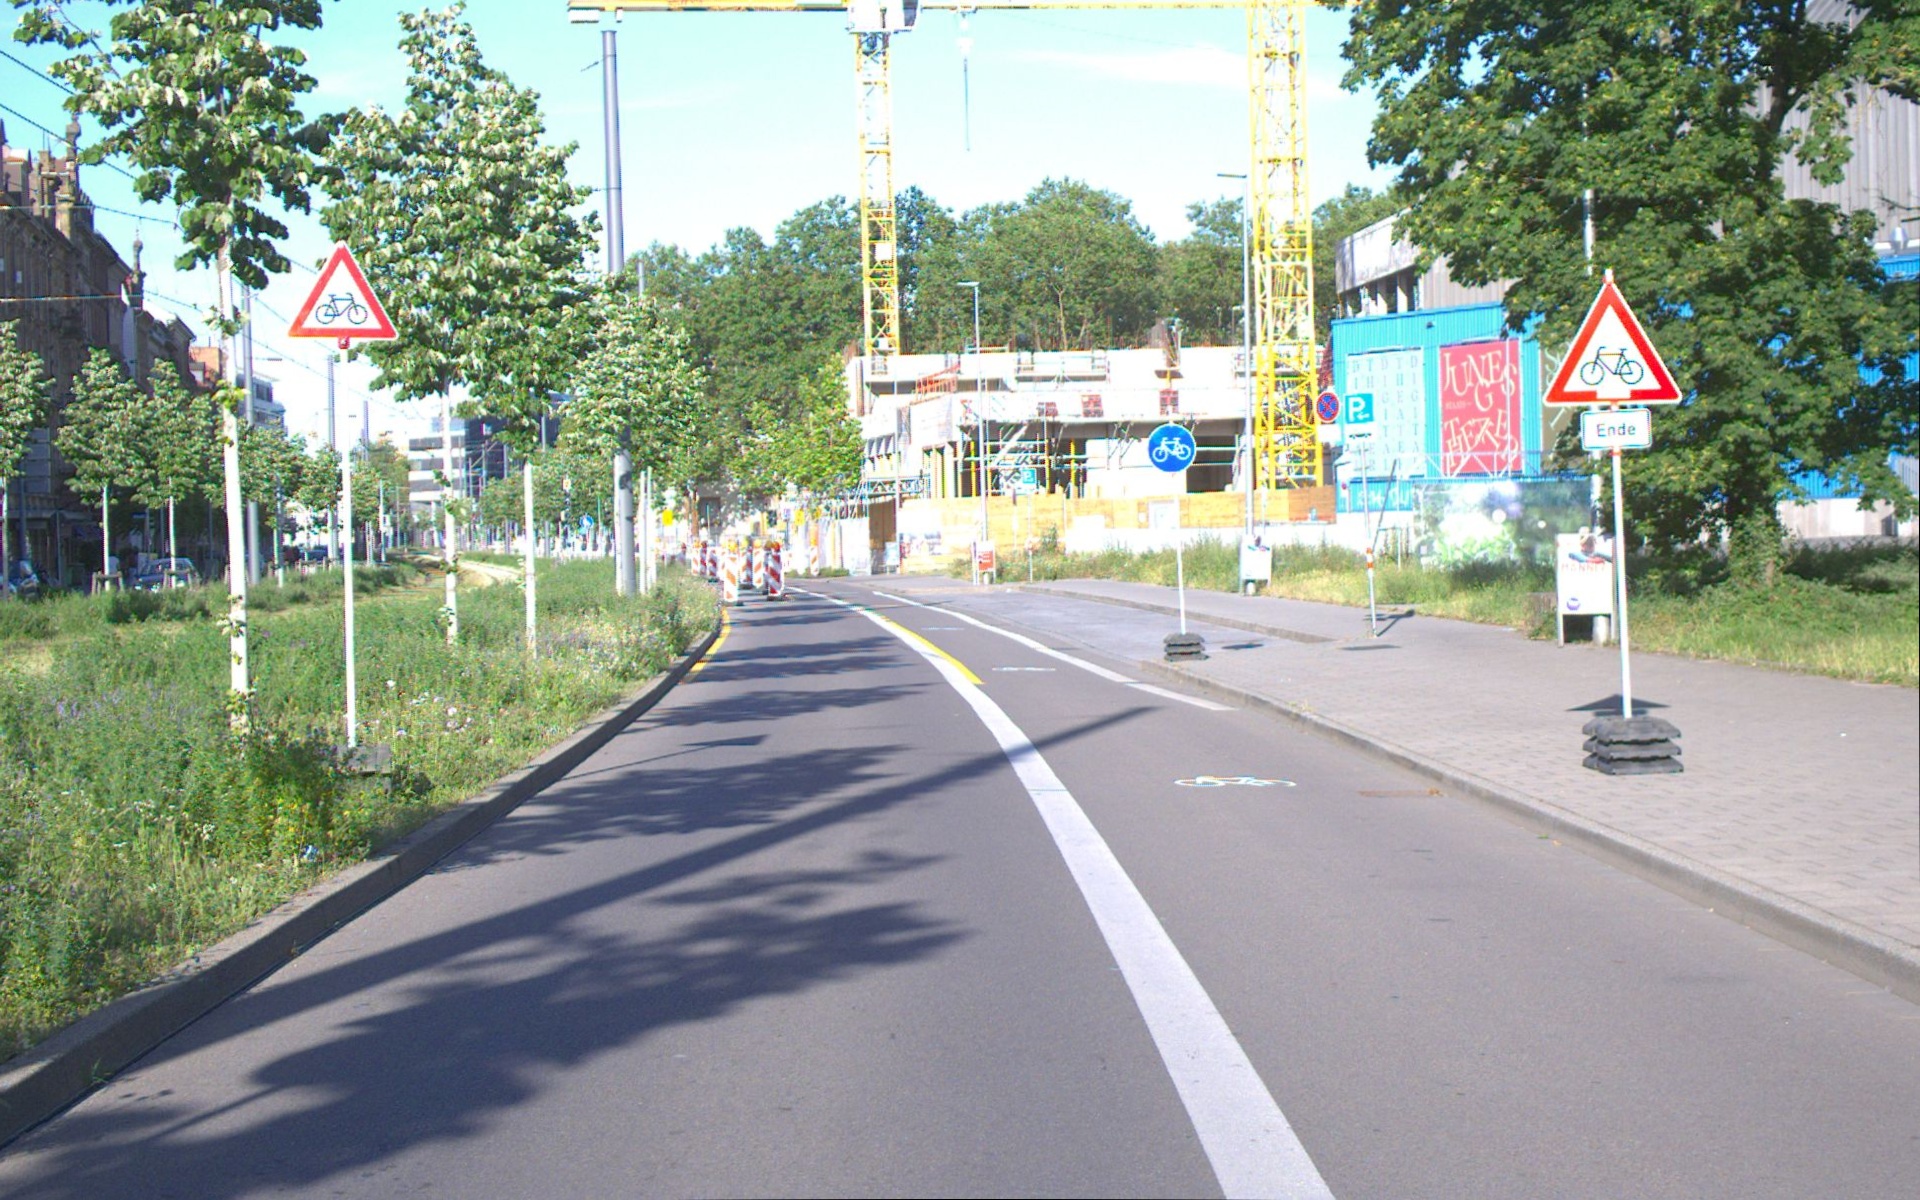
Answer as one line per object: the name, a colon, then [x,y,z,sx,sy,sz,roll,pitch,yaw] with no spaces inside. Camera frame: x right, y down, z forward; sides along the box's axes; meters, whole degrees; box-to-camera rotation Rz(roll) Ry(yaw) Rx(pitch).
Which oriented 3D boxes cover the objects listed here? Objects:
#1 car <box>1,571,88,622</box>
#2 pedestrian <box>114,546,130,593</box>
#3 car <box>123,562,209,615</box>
car: [-30.810,-0.136,115.810,1.903,1.570,4.301,-2,1,-2]
pedestrian: [-35.163,-1.269,144.204,0.550,1.940,0.650,-2,1,-10]
car: [-25.489,-0.394,110.485,1.903,1.570,4.301,-2,1,-2]
